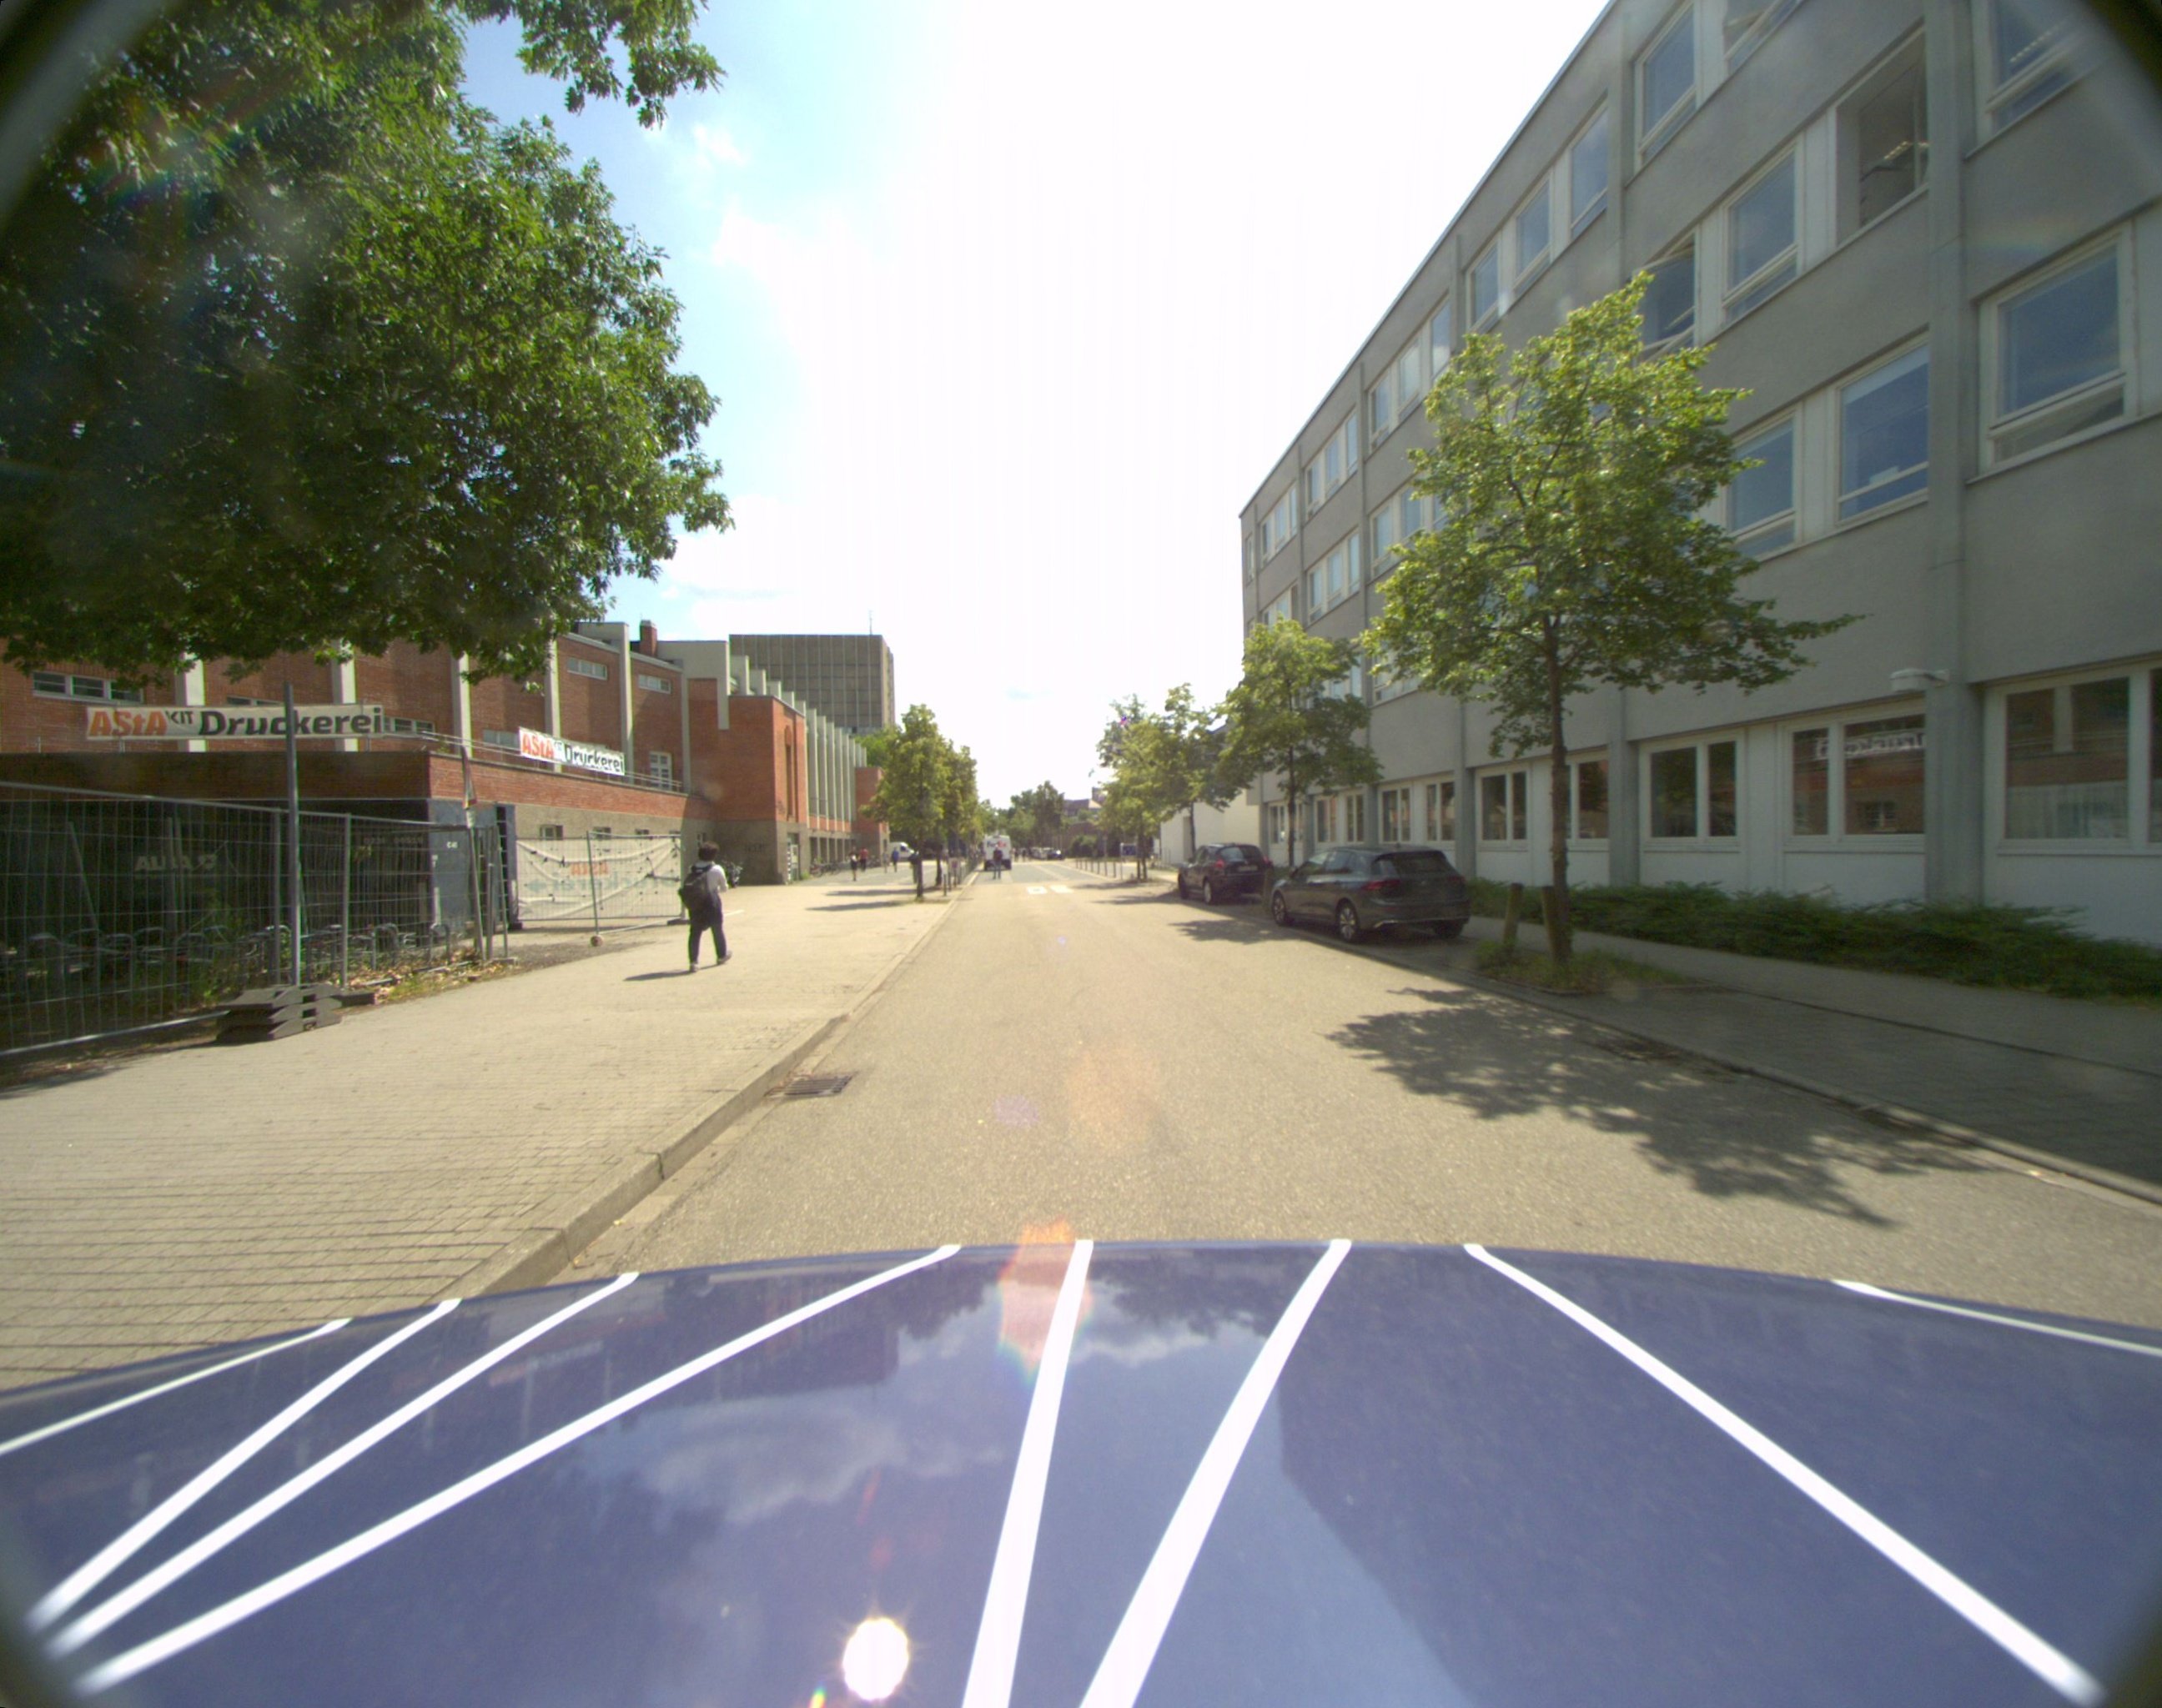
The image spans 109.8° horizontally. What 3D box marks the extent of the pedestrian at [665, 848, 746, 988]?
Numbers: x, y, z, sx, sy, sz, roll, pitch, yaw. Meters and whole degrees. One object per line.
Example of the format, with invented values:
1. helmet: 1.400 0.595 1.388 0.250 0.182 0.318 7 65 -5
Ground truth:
1. pedestrian: -4.982 0.819 10.127 0.696 1.771 0.786 -1 2 -6

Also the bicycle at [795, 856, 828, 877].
1. bicycle: -15.902 0.731 44.863 1.758 1.143 0.435 -1 1 -8

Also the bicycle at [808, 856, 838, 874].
1. bicycle: -16.357 0.707 48.199 1.753 1.104 0.435 -1 1 -8

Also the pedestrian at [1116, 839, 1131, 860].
1. pedestrian: 3.650 -0.388 65.360 1.022 1.837 0.917 1 1 24

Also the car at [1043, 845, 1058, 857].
1. car: -3.782 -0.349 94.079 1.636 1.423 3.630 -1 1 -6

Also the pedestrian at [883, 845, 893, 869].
1. pedestrian: -13.890 0.197 54.647 0.586 1.697 1.001 -1 2 -7

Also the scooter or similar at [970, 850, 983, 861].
1. scooter or similar: -11.696 0.193 85.436 1.353 1.223 0.577 0 1 29

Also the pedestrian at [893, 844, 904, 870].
1. pedestrian: -13.140 0.205 54.709 0.666 1.879 1.109 -1 2 -9

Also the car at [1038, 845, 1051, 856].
1. car: -5.193 -0.487 108.074 1.719 1.424 3.997 -1 1 -5

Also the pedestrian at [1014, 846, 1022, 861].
1. pedestrian: -7.377 -0.087 88.932 0.622 1.706 1.003 -1 1 -18

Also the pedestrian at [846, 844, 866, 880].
1. pedestrian: -11.904 0.416 40.189 0.847 1.824 1.196 -1 1 -11

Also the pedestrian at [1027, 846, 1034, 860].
1. pedestrian: -5.997 -0.102 89.557 0.558 1.707 0.971 -2 1 -18

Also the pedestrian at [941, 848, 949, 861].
1. pedestrian: -17.801 0.117 99.477 0.785 1.666 1.077 -1 2 -17

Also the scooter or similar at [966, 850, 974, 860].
1. scooter or similar: -12.781 0.079 87.548 0.575 1.173 1.478 -1 0 7

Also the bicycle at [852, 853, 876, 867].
1. bicycle: -17.791 0.498 62.310 1.802 1.104 0.435 -1 1 -8

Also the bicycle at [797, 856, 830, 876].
1. bicycle: -16.103 0.709 45.772 1.758 1.143 0.517 -1 1 -8

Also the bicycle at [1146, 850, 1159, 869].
1. bicycle: 4.287 0.329 45.675 0.545 1.055 1.898 -1 1 -1

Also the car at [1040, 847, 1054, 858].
1. car: -4.449 -0.246 99.868 1.649 1.369 3.997 -1 1 -5

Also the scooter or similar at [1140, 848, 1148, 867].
1. scooter or similar: 4.347 0.216 52.694 0.483 1.256 1.314 -1 1 6

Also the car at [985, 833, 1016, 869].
1. car: -6.188 -0.264 57.875 2.066 2.529 5.844 -1 1 -8

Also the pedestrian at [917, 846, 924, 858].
1. pedestrian: -23.564 -0.275 111.541 0.752 1.663 0.844 -1 1 -28

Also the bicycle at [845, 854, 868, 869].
1. bicycle: -17.390 0.562 58.848 1.688 1.104 0.435 -1 1 -8

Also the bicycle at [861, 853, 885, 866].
1. bicycle: -18.158 0.453 66.422 1.936 1.104 0.456 -1 1 -8

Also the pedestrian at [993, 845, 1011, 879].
1. pedestrian: -4.344 0.405 41.563 0.826 1.807 1.143 -1 1 -11

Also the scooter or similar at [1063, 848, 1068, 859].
1. scooter or similar: -1.714 -0.074 83.981 0.471 1.209 1.204 -1 1 -1

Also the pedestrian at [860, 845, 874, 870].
1. pedestrian: -15.465 0.241 54.859 0.664 1.824 0.906 -1 1 2

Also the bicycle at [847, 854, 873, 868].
1. bicycle: -17.623 0.533 60.507 1.917 1.104 0.435 -1 1 -8

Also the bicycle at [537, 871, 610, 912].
1. bicycle: -14.524 1.070 21.769 1.706 1.103 0.447 -1 1 -6

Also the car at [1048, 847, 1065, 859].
1. car: -2.821 -0.112 87.557 1.701 1.287 3.760 -1 1 -5

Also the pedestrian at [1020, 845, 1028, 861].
1. pedestrian: -6.693 -0.132 89.218 0.727 1.777 0.898 -2 1 -23

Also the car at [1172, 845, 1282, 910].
1. car: 3.824 0.548 20.608 1.702 1.555 4.064 -1 1 -8

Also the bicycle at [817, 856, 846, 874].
1. bicycle: -16.297 0.720 49.639 1.688 1.104 0.435 -1 1 -8

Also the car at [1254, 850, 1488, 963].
1. car: 4.516 0.703 12.630 1.783 1.453 4.255 -3 1 -8

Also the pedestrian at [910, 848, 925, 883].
1. pedestrian: -7.945 0.549 36.925 0.644 1.687 0.791 -1 1 -12

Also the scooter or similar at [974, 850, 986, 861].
1. scooter or similar: -11.446 0.199 86.200 1.140 1.236 0.577 0 1 29

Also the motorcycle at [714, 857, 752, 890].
1. motorcycle: -14.771 0.795 32.309 0.698 1.316 2.219 -1 1 -4
